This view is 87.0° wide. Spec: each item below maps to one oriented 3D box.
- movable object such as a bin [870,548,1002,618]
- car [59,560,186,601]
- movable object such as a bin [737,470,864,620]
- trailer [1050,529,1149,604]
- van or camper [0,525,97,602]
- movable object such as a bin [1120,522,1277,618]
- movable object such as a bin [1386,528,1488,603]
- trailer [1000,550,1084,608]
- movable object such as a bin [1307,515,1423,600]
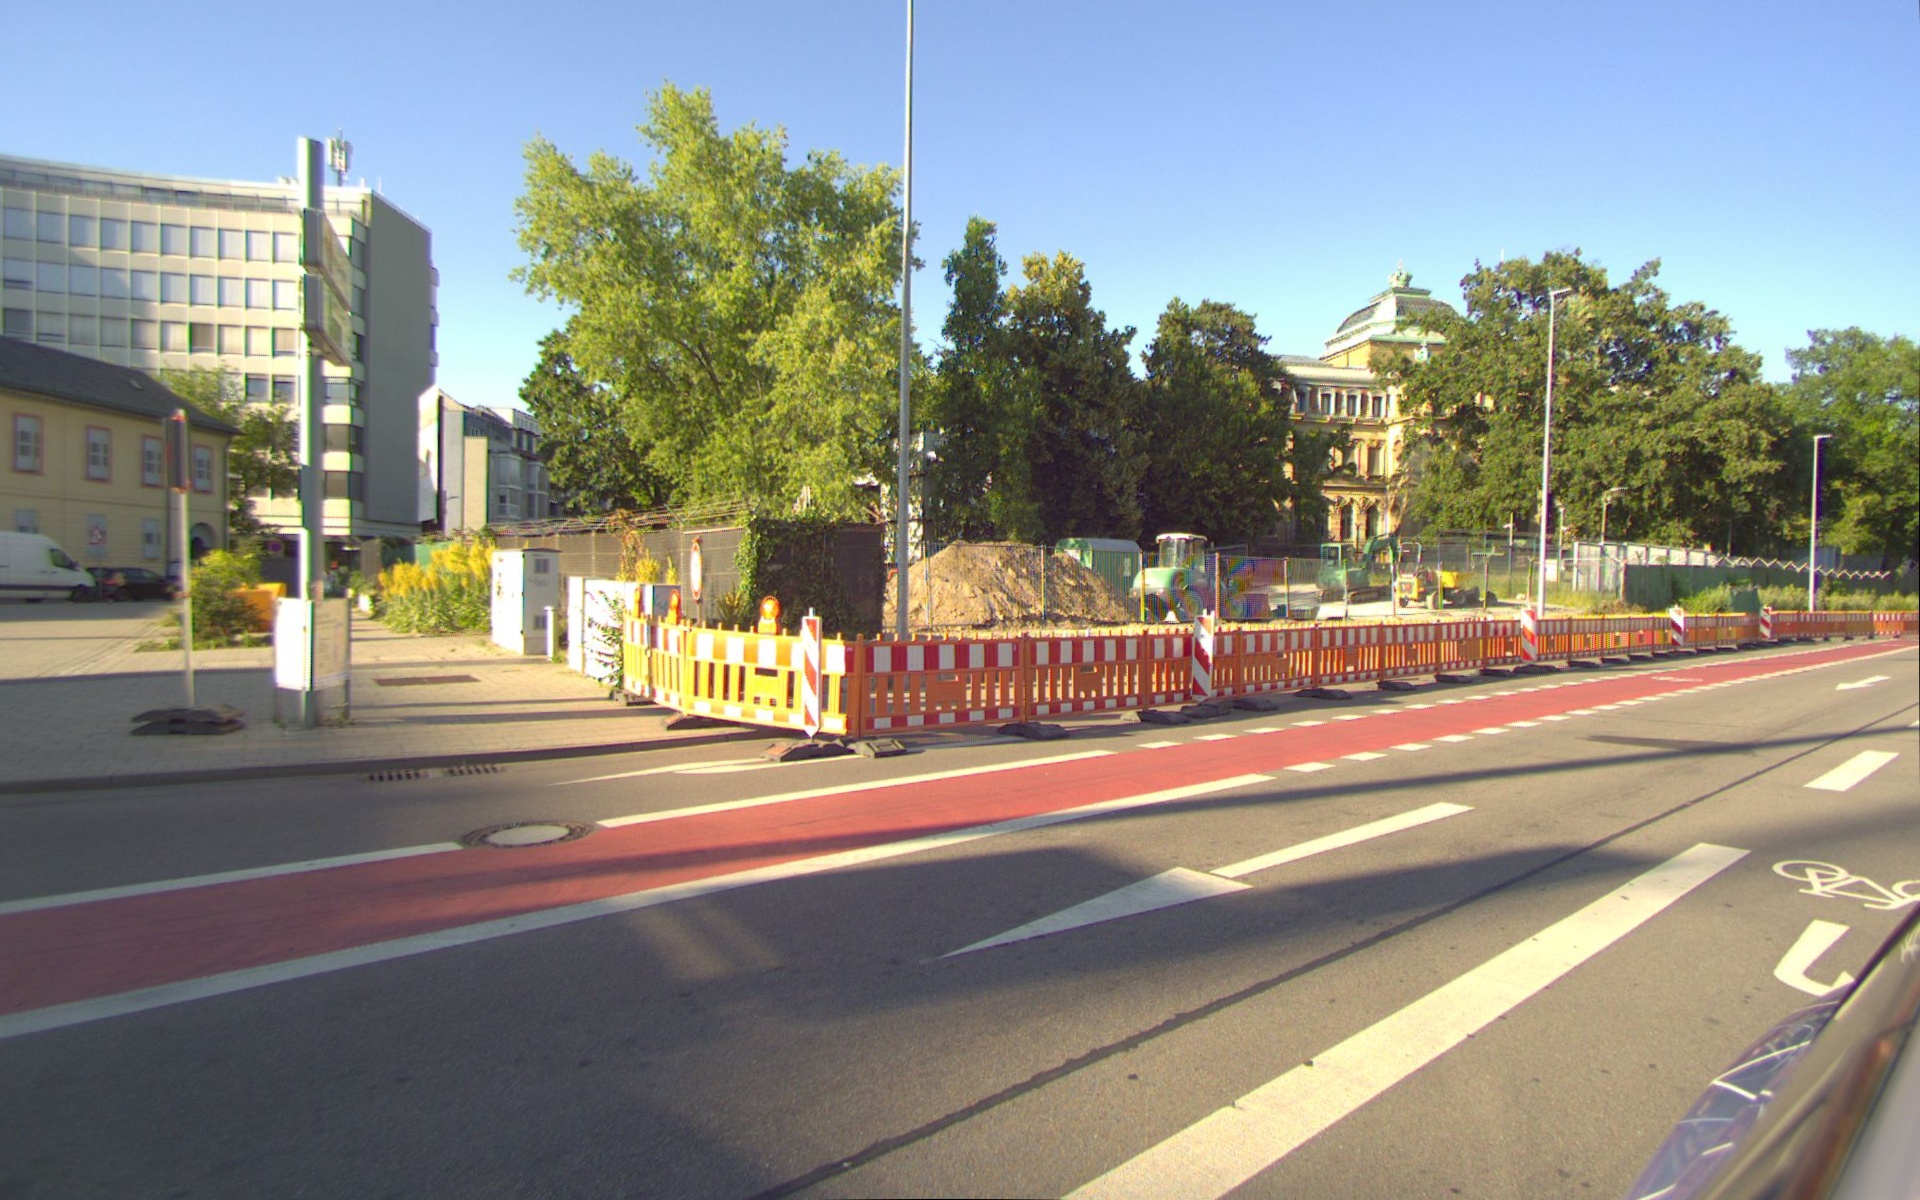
[{"bbox_3d":[-0.993,-0.728,38.582,2.189,2.349,5.037,-7,7,-43],"label":"movable object such as a bin"},{"bbox_3d":[-34.530,-0.824,41.886,1.962,1.593,4.001,1,1,0],"label":"car"},{"bbox_3d":[-4.530,-1.414,27.745,2.801,3.602,6.095,1,1,-15],"label":"movable object such as a bin"},{"bbox_3d":[6.518,-1.625,47.145,3.923,3.126,2.612,-7,7,-43],"label":"trailer"},{"bbox_3d":[-34.132,-1.298,36.058,1.962,2.668,5.607,1,1,0],"label":"van or camper"},{"bbox_3d":[7.419,-0.900,31.221,4.855,2.737,2.280,0,2,-41],"label":"movable object such as a bin"},{"bbox_3d":[19.719,-1.401,41.797,3.922,2.940,2.001,0,1,-33],"label":"movable object such as a bin"},{"bbox_3d":[3.612,-0.974,44.750,2.189,2.349,2.950,-7,7,-43],"label":"trailer"},{"bbox_3d":[18.238,-1.832,45.493,5.395,3.601,2.283,0,1,-36],"label":"movable object such as a bin"}]
